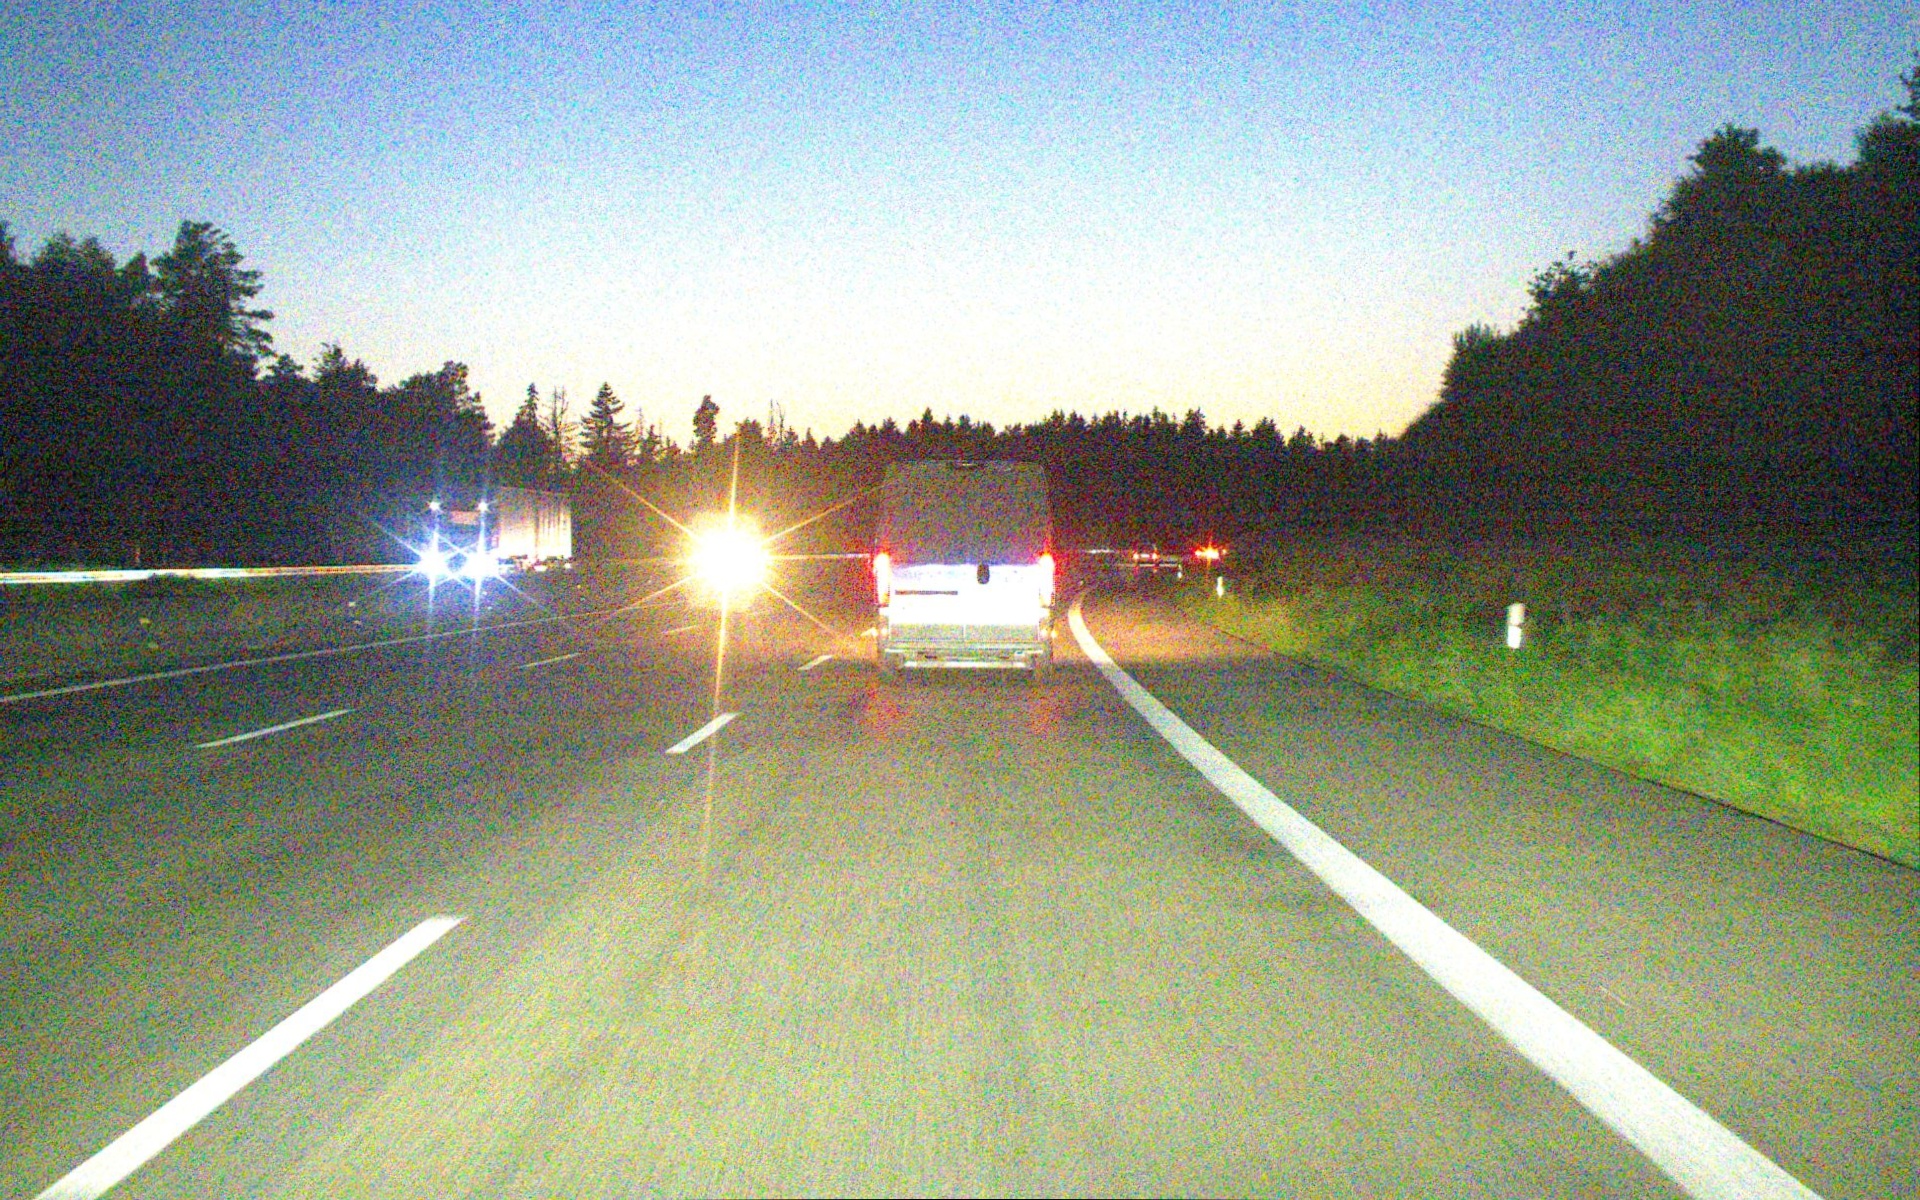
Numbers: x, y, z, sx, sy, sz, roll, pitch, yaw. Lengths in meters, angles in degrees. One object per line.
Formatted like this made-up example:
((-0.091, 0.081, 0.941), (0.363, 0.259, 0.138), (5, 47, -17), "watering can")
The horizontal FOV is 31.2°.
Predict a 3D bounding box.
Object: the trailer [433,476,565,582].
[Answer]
((-19.518, -2.898, 146.785), (2.688, 4.203, 17.252), (0, 0, 2), "trailer")

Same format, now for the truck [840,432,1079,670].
((0.104, -0.559, 42.267), (2.630, 2.615, 8.684), (0, 0, 1), "truck")

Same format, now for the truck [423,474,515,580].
((-19.846, -2.894, 139.074), (2.714, 4.185, 5.420), (0, 0, 2), "truck")
